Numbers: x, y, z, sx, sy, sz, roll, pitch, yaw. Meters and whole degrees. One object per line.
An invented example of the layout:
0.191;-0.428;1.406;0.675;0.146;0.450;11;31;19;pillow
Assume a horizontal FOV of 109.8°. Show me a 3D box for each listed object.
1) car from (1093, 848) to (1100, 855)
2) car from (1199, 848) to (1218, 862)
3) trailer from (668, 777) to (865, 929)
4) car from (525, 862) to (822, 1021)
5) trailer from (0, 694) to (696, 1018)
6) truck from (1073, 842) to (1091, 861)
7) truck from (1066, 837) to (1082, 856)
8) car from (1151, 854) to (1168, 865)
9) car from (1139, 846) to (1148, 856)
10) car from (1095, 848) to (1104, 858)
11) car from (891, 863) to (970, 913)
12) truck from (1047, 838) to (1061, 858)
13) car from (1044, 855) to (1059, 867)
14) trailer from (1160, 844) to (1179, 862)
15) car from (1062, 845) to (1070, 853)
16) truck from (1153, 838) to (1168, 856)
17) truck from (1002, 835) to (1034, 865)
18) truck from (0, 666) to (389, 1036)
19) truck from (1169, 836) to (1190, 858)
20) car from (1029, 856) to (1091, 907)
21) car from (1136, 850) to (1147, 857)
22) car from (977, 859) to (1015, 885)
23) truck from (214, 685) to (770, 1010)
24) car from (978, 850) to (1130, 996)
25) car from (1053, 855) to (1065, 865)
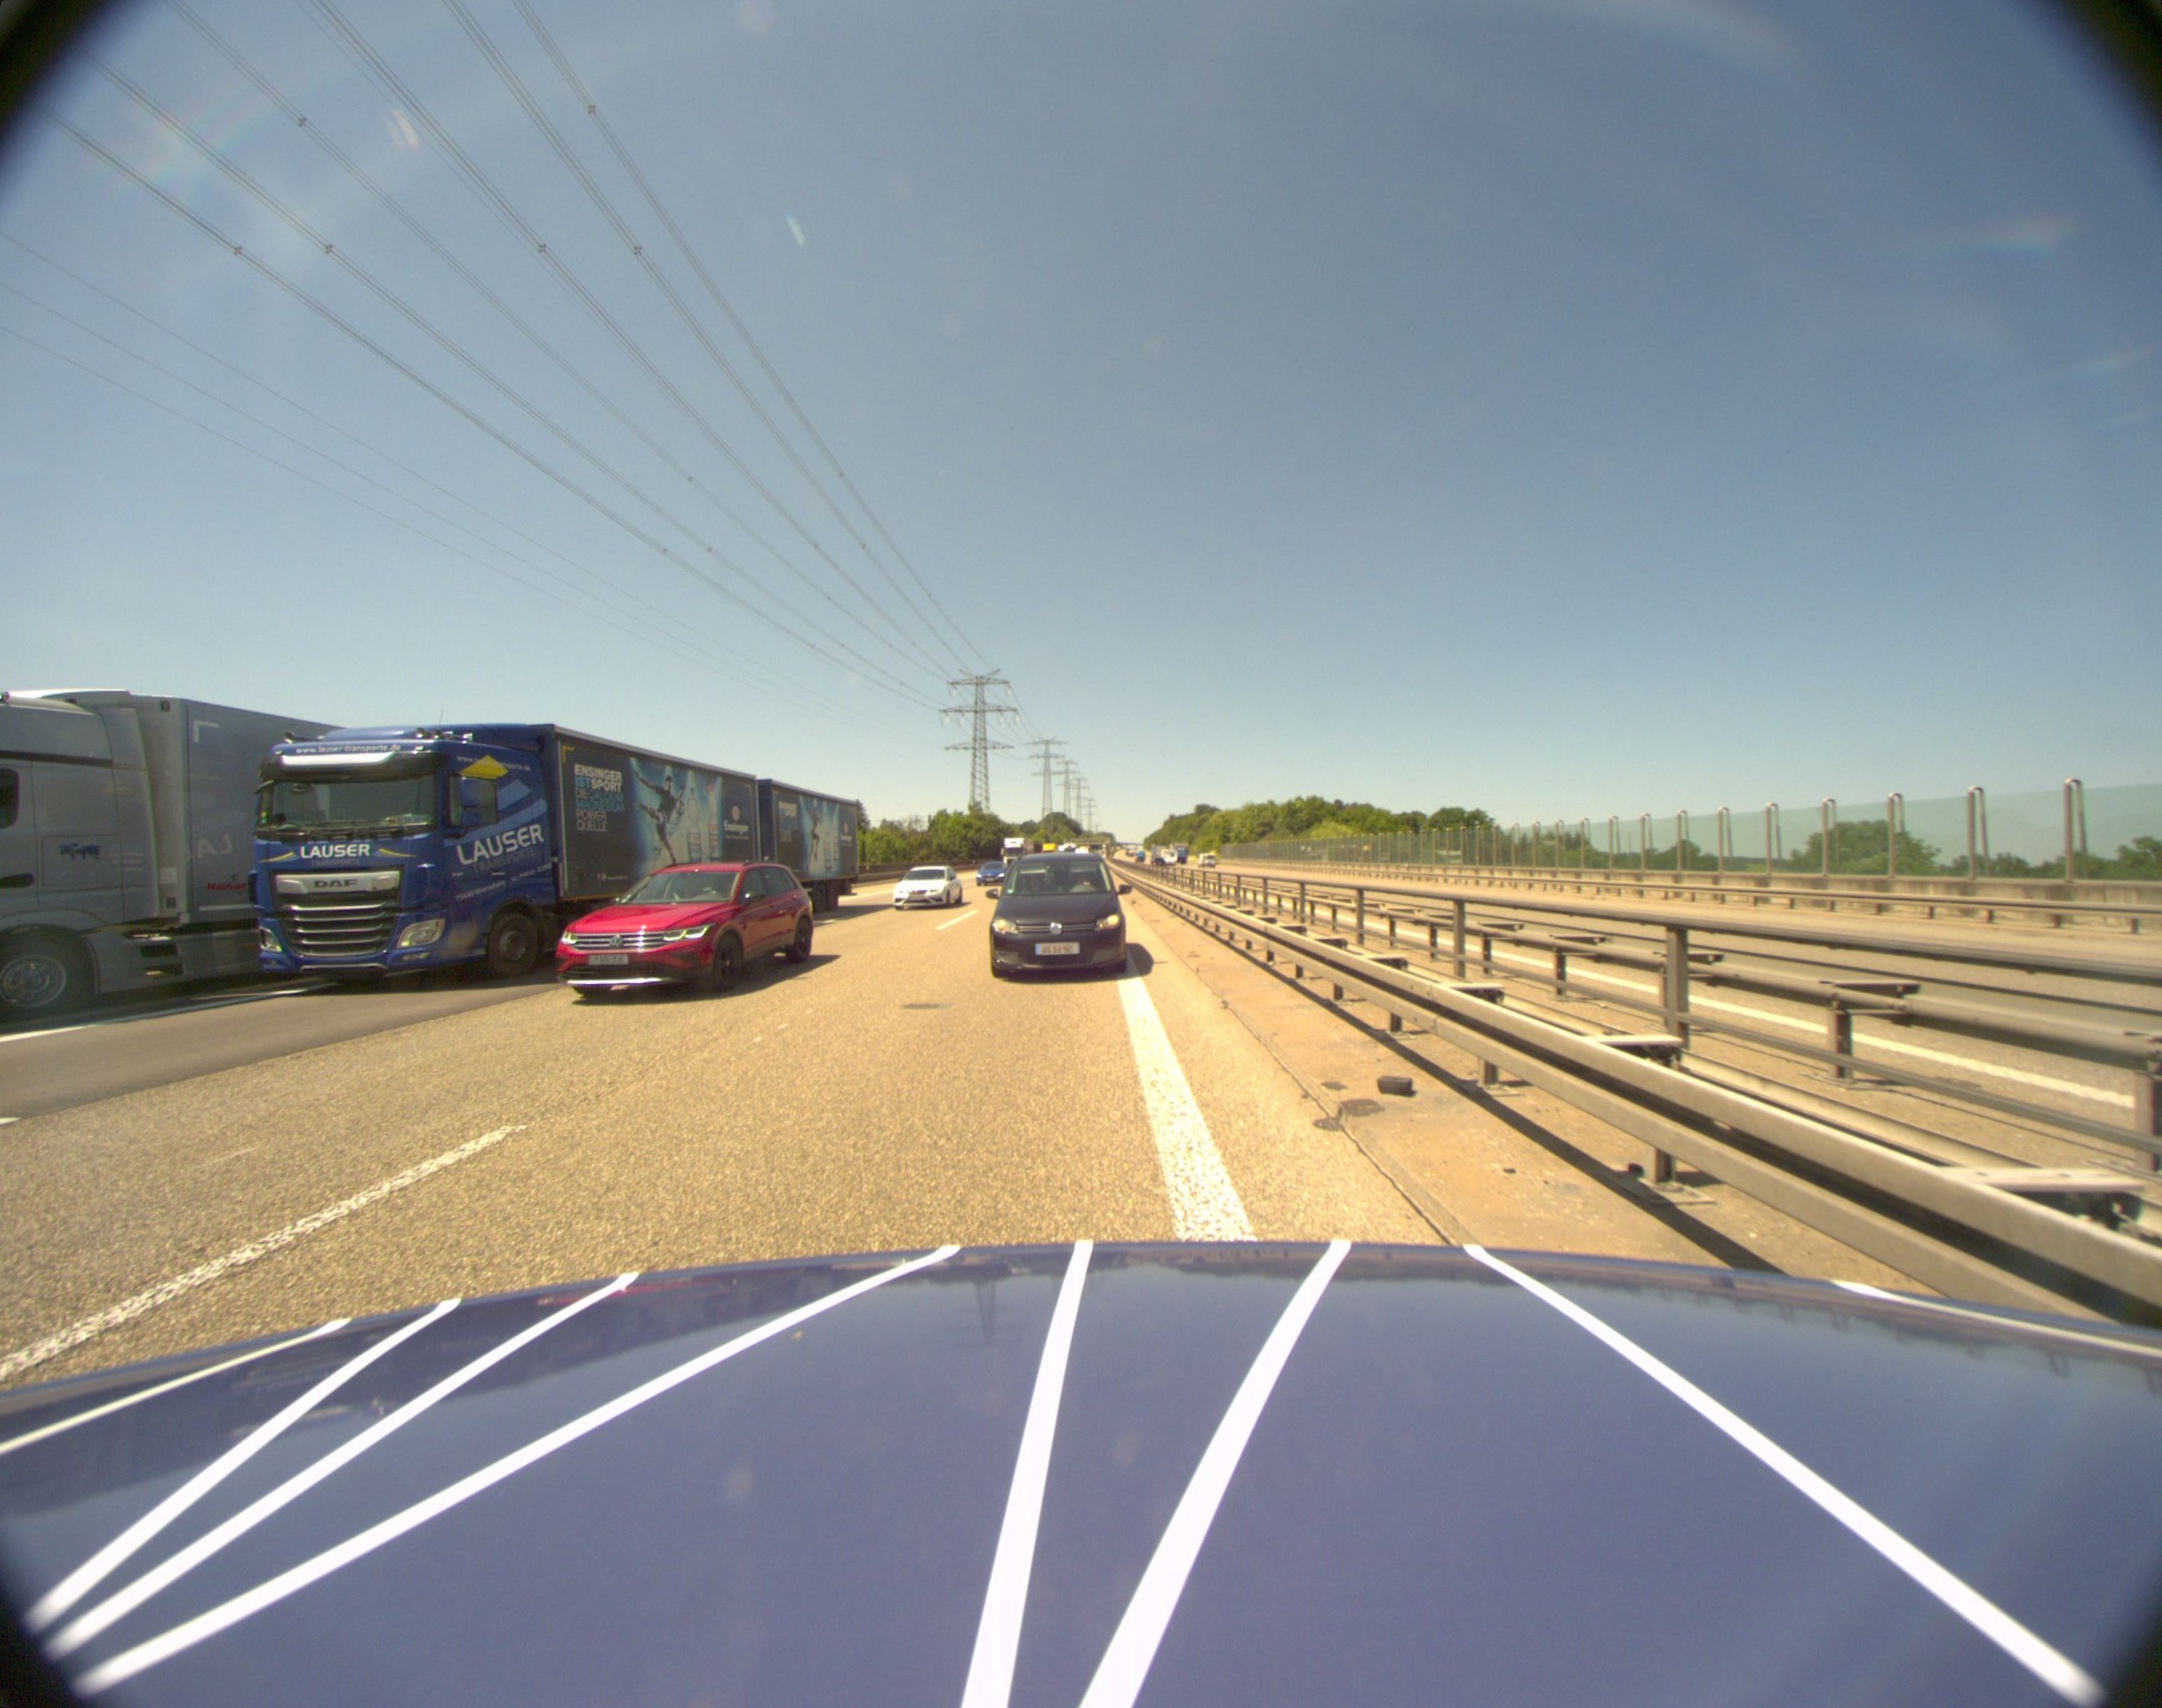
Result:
4.731;-0.829;226.972;1.998;2.002;4.000;-2;1;1;car
18.169;0.143;108.338;2.039;1.972;4.489;2;0;0;car
-9.521;-0.018;24.314;2.572;3.922;8.479;-2;0;0;trailer
-5.219;0.996;10.513;1.779;1.652;4.224;-2;0;0;car
-13.261;0.018;16.663;2.542;4.095;13.771;-2;0;0;trailer
0.199;-0.387;105.625;2.284;2.479;5.861;-2;0;1;truck
-1.400;-1.537;158.833;2.980;3.832;10.561;-2;1;1;truck
10.042;0.692;97.556;1.772;1.411;4.266;0;0;1;car
16.499;-0.781;200.556;1.986;2.575;5.036;1;1;0;car
4.007;-0.228;165.203;1.998;2.002;4.000;-2;1;1;car
-5.145;1.131;26.526;1.843;1.481;4.072;-2;0;1;car
-5.736;-1.248;160.713;2.346;4.058;8.278;-2;1;1;truck
-3.796;0.867;98.651;1.763;1.495;4.094;-1;0;-1;car
14.073;-0.135;121.242;2.322;2.690;6.360;1;0;0;trailer
-3.974;-1.274;200.311;1.998;2.002;4.000;0;0;1;car
19.770;-1.755;189.340;2.876;4.514;9.988;1;1;1;truck
-7.876;-0.516;97.037;2.985;3.538;10.967;-2;0;0;truck
-13.229;-0.004;10.182;2.523;4.095;5.715;-2;0;0;truck
18.752;-1.390;145.411;2.876;4.062;9.988;1;1;1;truck
-0.635;0.845;25.550;1.845;1.495;4.377;-1;0;0;car
12.446;-0.193;156.257;1.853;1.386;4.000;2;0;0;car
-5.190;1.079;46.868;1.739;1.437;4.210;-2;0;2;car
-9.581;-0.074;14.825;2.529;4.042;10.447;-2;0;0;truck
-0.318;0.810;10.985;1.740;1.652;3.999;-2;1;0;car
-3.468;0.898;121.084;1.763;1.495;4.094;-1;0;0;car
